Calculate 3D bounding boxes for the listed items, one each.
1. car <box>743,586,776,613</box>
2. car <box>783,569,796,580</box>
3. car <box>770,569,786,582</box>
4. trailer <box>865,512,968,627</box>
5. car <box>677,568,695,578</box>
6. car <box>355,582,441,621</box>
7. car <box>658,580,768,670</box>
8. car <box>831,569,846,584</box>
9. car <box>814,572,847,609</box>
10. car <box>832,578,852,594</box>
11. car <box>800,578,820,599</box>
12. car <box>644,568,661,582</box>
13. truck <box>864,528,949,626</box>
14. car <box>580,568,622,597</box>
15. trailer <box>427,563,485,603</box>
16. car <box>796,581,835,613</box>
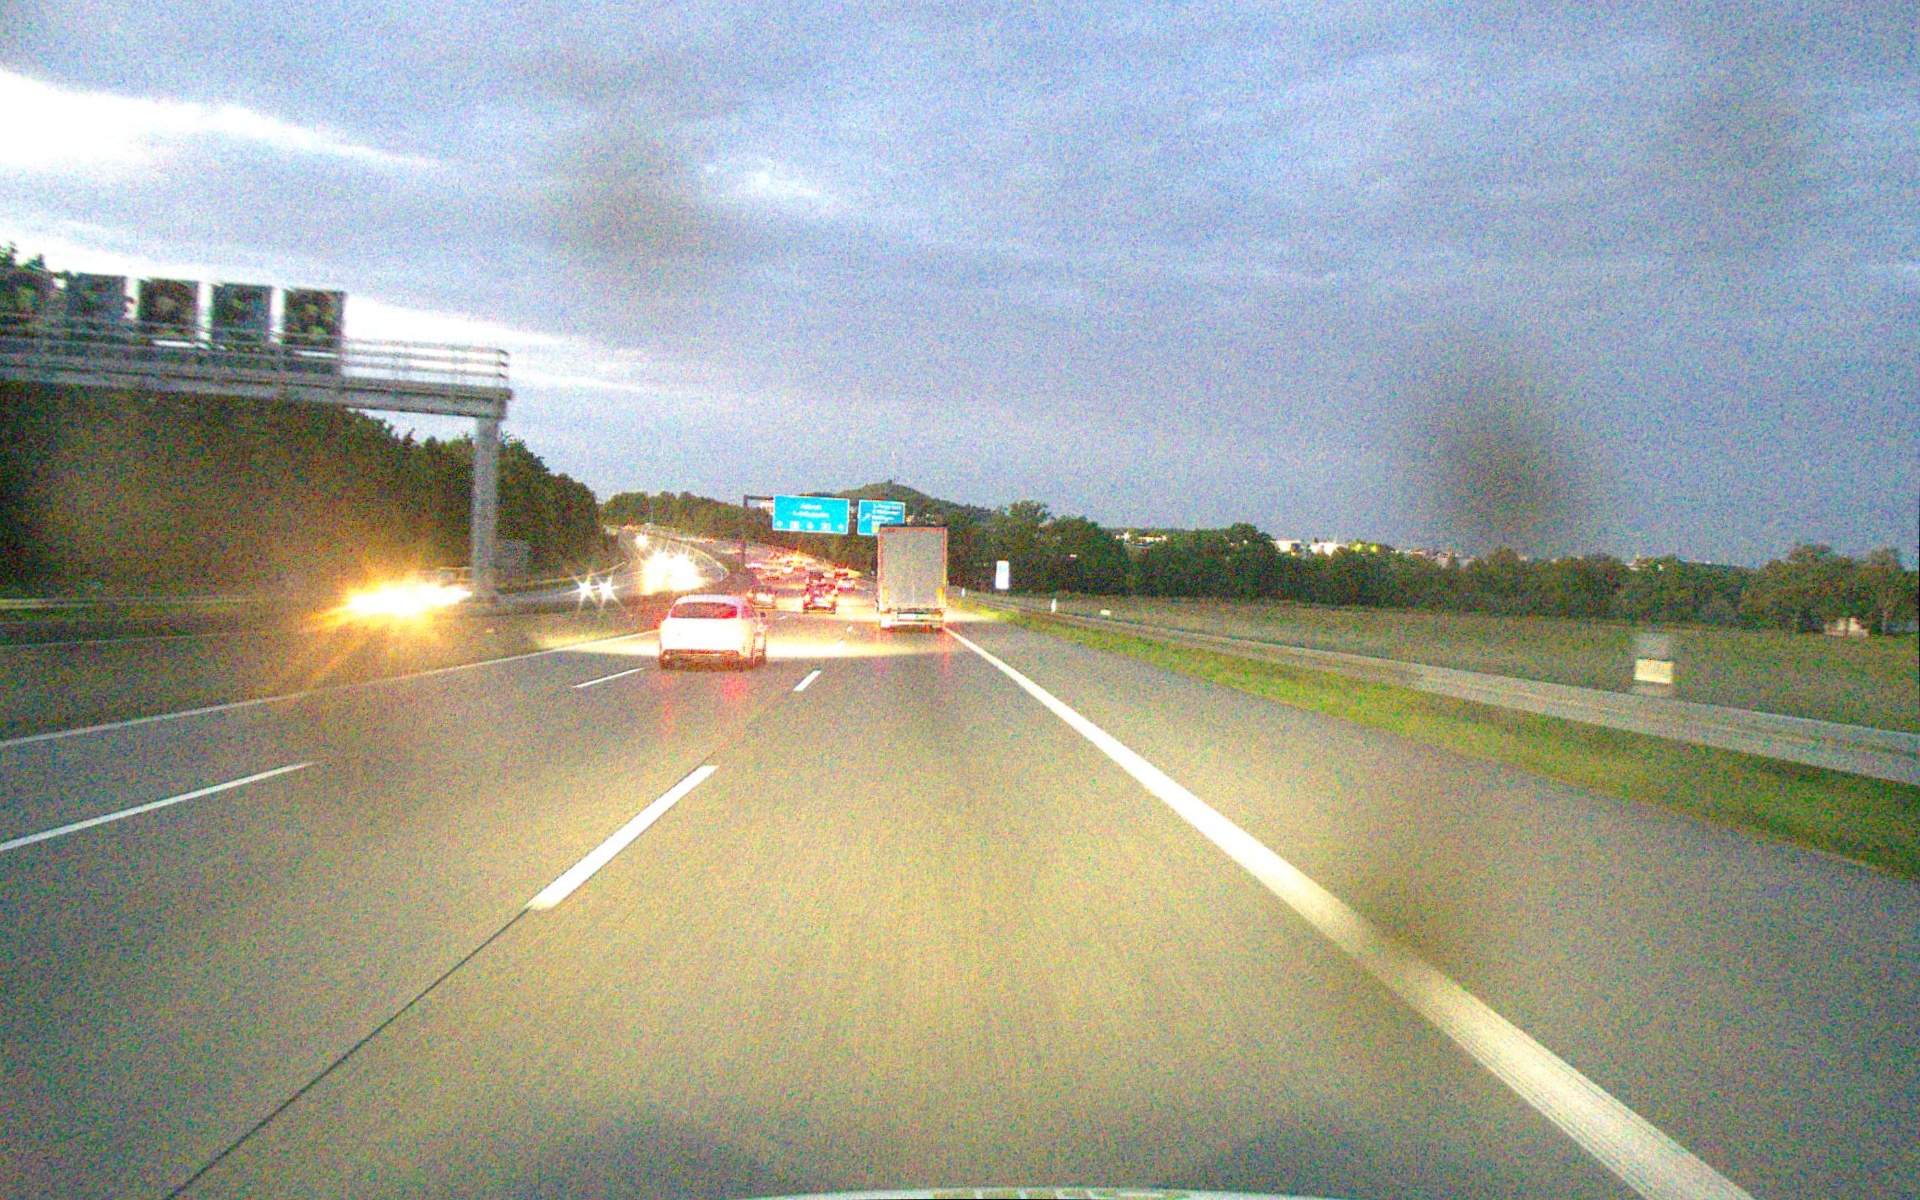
[{"bbox_3d":[-12.514,-0.028,103.542,1.727,1.602,4.573,1,0,-3],"label":"car"},{"bbox_3d":[-26.415,-3.903,256.282,1.956,1.650,3.993,1,0,-8],"label":"car"},{"bbox_3d":[-24.491,-3.340,222.514,1.954,1.650,3.996,1,0,-5],"label":"car"},{"bbox_3d":[-2.035,-1.064,68.707,3.480,4.188,15.048,1,0,-4],"label":"trailer"},{"bbox_3d":[-38.166,-3.801,230.803,2.019,1.247,5.229,1,0,-4],"label":"car"},{"bbox_3d":[-21.132,0.055,62.394,1.655,1.378,4.896,1,0,-2],"label":"car"},{"bbox_3d":[-4.919,0.477,33.487,1.869,1.642,4.798,1,0,-5],"label":"car"},{"bbox_3d":[-17.246,-3.357,234.055,1.955,2.013,3.994,1,0,-6],"label":"car"},{"bbox_3d":[-8.782,-0.621,112.576,1.953,2.422,3.999,1,0,-1],"label":"car"},{"bbox_3d":[-12.473,-1.461,174.685,1.954,1.561,3.996,1,0,-5],"label":"car"},{"bbox_3d":[-15.228,-1.126,167.978,1.955,2.049,3.995,1,0,-6],"label":"car"},{"bbox_3d":[-43.762,-3.583,235.532,1.955,1.926,5.052,1,0,-6],"label":"car"},{"bbox_3d":[-2.492,-0.986,74.590,3.481,4.163,6.145,1,-1,-4],"label":"truck"},{"bbox_3d":[-24.721,-1.168,114.065,1.875,1.900,6.011,1,0,-4],"label":"car"},{"bbox_3d":[-27.543,-0.937,90.511,1.874,2.037,4.239,3,0,-2],"label":"trailer"},{"bbox_3d":[-8.064,-0.165,92.834,2.024,1.715,4.573,1,0,-4],"label":"car"}]
